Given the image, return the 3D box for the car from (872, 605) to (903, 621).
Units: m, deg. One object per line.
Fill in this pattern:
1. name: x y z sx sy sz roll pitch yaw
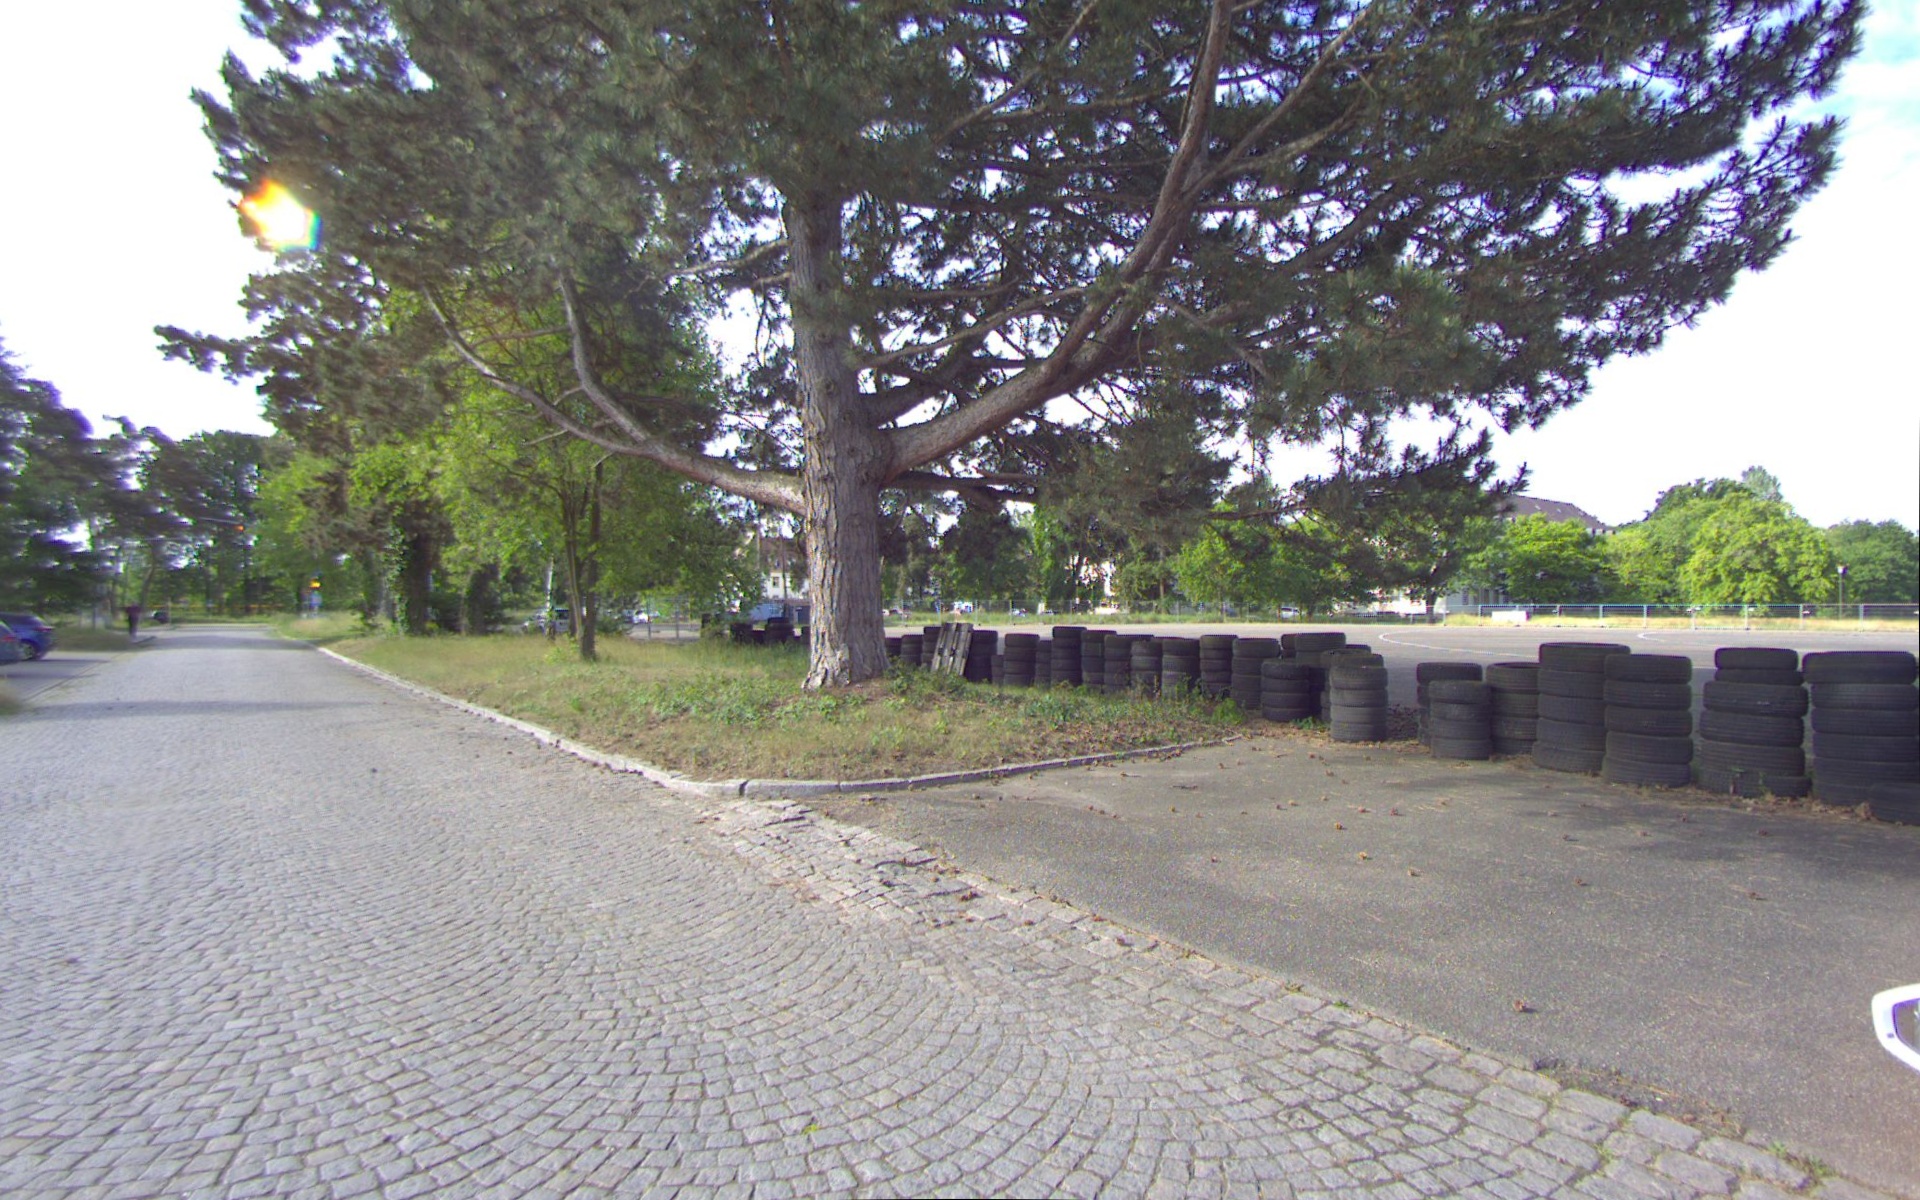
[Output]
1. car: -8.351 1.431 114.937 1.978 1.773 3.966 0 0 -32

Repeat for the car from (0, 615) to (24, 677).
1. car: -24.242 1.054 23.683 3.071 1.476 1.474 3 -2 -42

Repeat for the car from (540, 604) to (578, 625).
1. car: -32.680 1.160 81.799 1.981 1.639 3.959 0 0 -36

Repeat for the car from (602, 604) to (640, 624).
1. car: -28.863 1.144 85.381 1.981 1.639 3.959 0 0 -36

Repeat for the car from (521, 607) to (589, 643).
1. car: -18.558 1.095 45.973 1.876 1.561 3.956 0 -1 -38

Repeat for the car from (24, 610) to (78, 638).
1. car: -54.843 1.429 60.677 1.981 1.639 3.959 0 0 -36

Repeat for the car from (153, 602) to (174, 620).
1. car: -91.893 1.270 115.928 1.687 2.040 3.959 0 0 -36

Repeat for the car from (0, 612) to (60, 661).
1. car: -29.843 1.128 30.989 3.072 1.469 1.473 0 0 -43

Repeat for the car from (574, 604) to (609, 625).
1. car: -30.698 1.193 83.628 1.808 1.639 3.962 0 0 -34

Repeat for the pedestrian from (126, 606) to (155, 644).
1. pedestrian: -40.635 1.211 49.789 0.941 1.868 0.955 0 0 39

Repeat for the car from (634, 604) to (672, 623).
1. car: -26.720 1.144 87.391 1.981 1.639 3.959 0 0 -36
